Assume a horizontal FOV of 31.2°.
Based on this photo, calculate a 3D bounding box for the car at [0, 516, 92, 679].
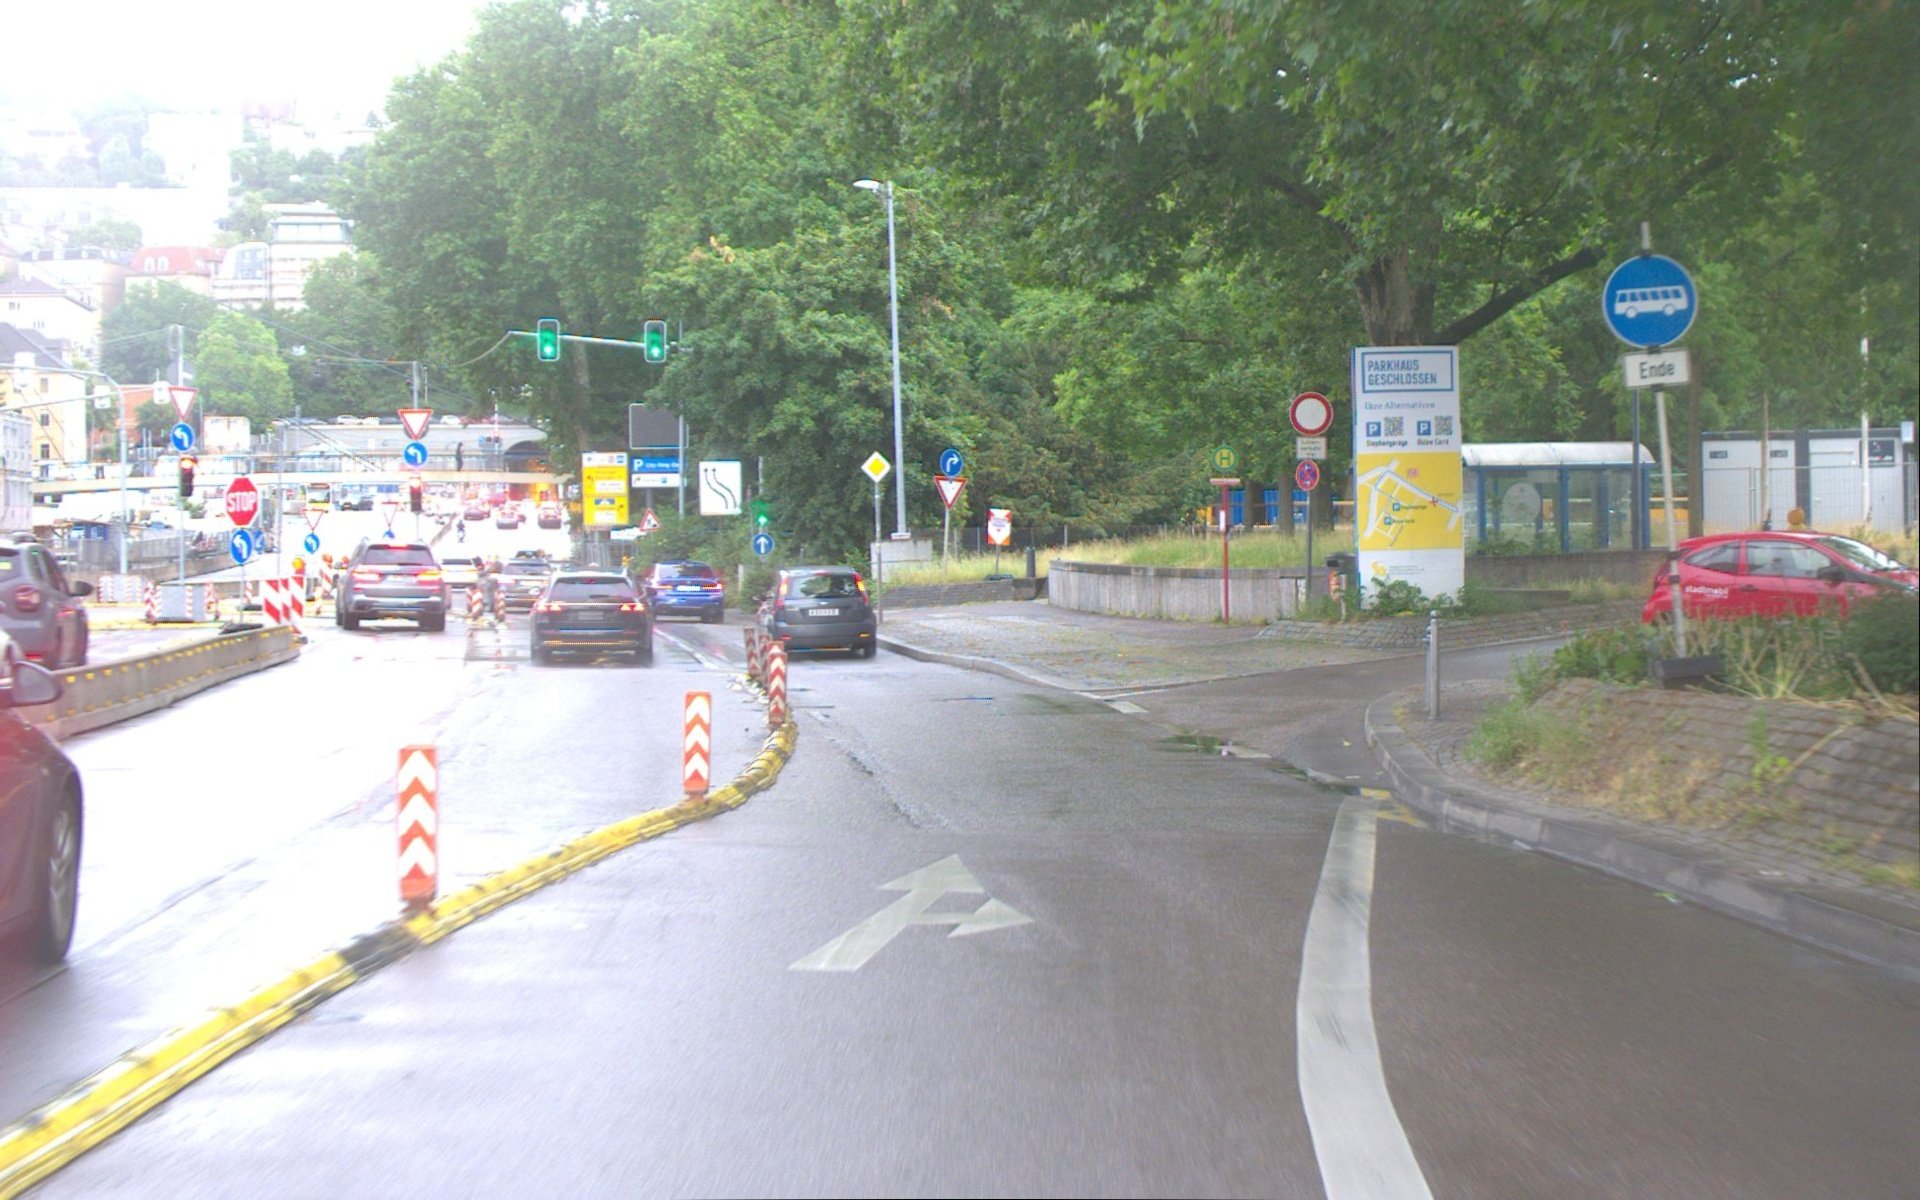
[{"bbox_3d":[-9.926,-0.021,34.302,1.993,1.525,4.153,-2,1,-8],"label":"car"}]

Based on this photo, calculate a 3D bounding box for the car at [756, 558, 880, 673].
[{"bbox_3d":[-2.246,0.210,54.053,1.851,1.711,4.000,1,1,-3],"label":"car"}]

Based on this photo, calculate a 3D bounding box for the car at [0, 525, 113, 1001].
[{"bbox_3d":[-3.941,0.520,10.442,1.877,1.503,4.853,0,1,-4],"label":"car"}]

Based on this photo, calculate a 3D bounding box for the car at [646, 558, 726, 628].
[{"bbox_3d":[-6.392,-0.178,80.362,1.674,1.576,3.240,1,1,-1],"label":"car"}]

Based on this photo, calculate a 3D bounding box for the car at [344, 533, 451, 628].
[{"bbox_3d":[-11.348,-0.408,69.167,1.993,1.820,4.001,1,1,-11],"label":"car"}]

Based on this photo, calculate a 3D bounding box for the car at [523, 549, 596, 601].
[{"bbox_3d":[-12.946,-0.810,110.985,1.634,1.619,3.796,1,1,-17],"label":"car"}]

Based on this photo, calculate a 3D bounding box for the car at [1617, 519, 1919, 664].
[{"bbox_3d":[9.247,-0.114,37.651,3.615,1.500,1.730,1,1,38],"label":"car"}]

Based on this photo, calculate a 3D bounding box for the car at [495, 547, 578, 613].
[{"bbox_3d":[-11.325,-0.538,92.103,1.904,1.711,4.000,1,1,-3],"label":"car"}]

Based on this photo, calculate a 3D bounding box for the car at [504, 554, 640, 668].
[{"bbox_3d":[-6.015,0.143,53.705,1.830,1.680,4.134,0,1,-3],"label":"car"}]

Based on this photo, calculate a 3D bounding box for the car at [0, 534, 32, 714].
[{"bbox_3d":[-9.273,0.247,28.829,1.993,1.562,4.877,-2,1,-5],"label":"car"}]

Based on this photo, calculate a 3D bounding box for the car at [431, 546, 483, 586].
[{"bbox_3d":[-20.216,-1.378,138.028,1.813,1.569,4.001,1,1,-11],"label":"car"}]
